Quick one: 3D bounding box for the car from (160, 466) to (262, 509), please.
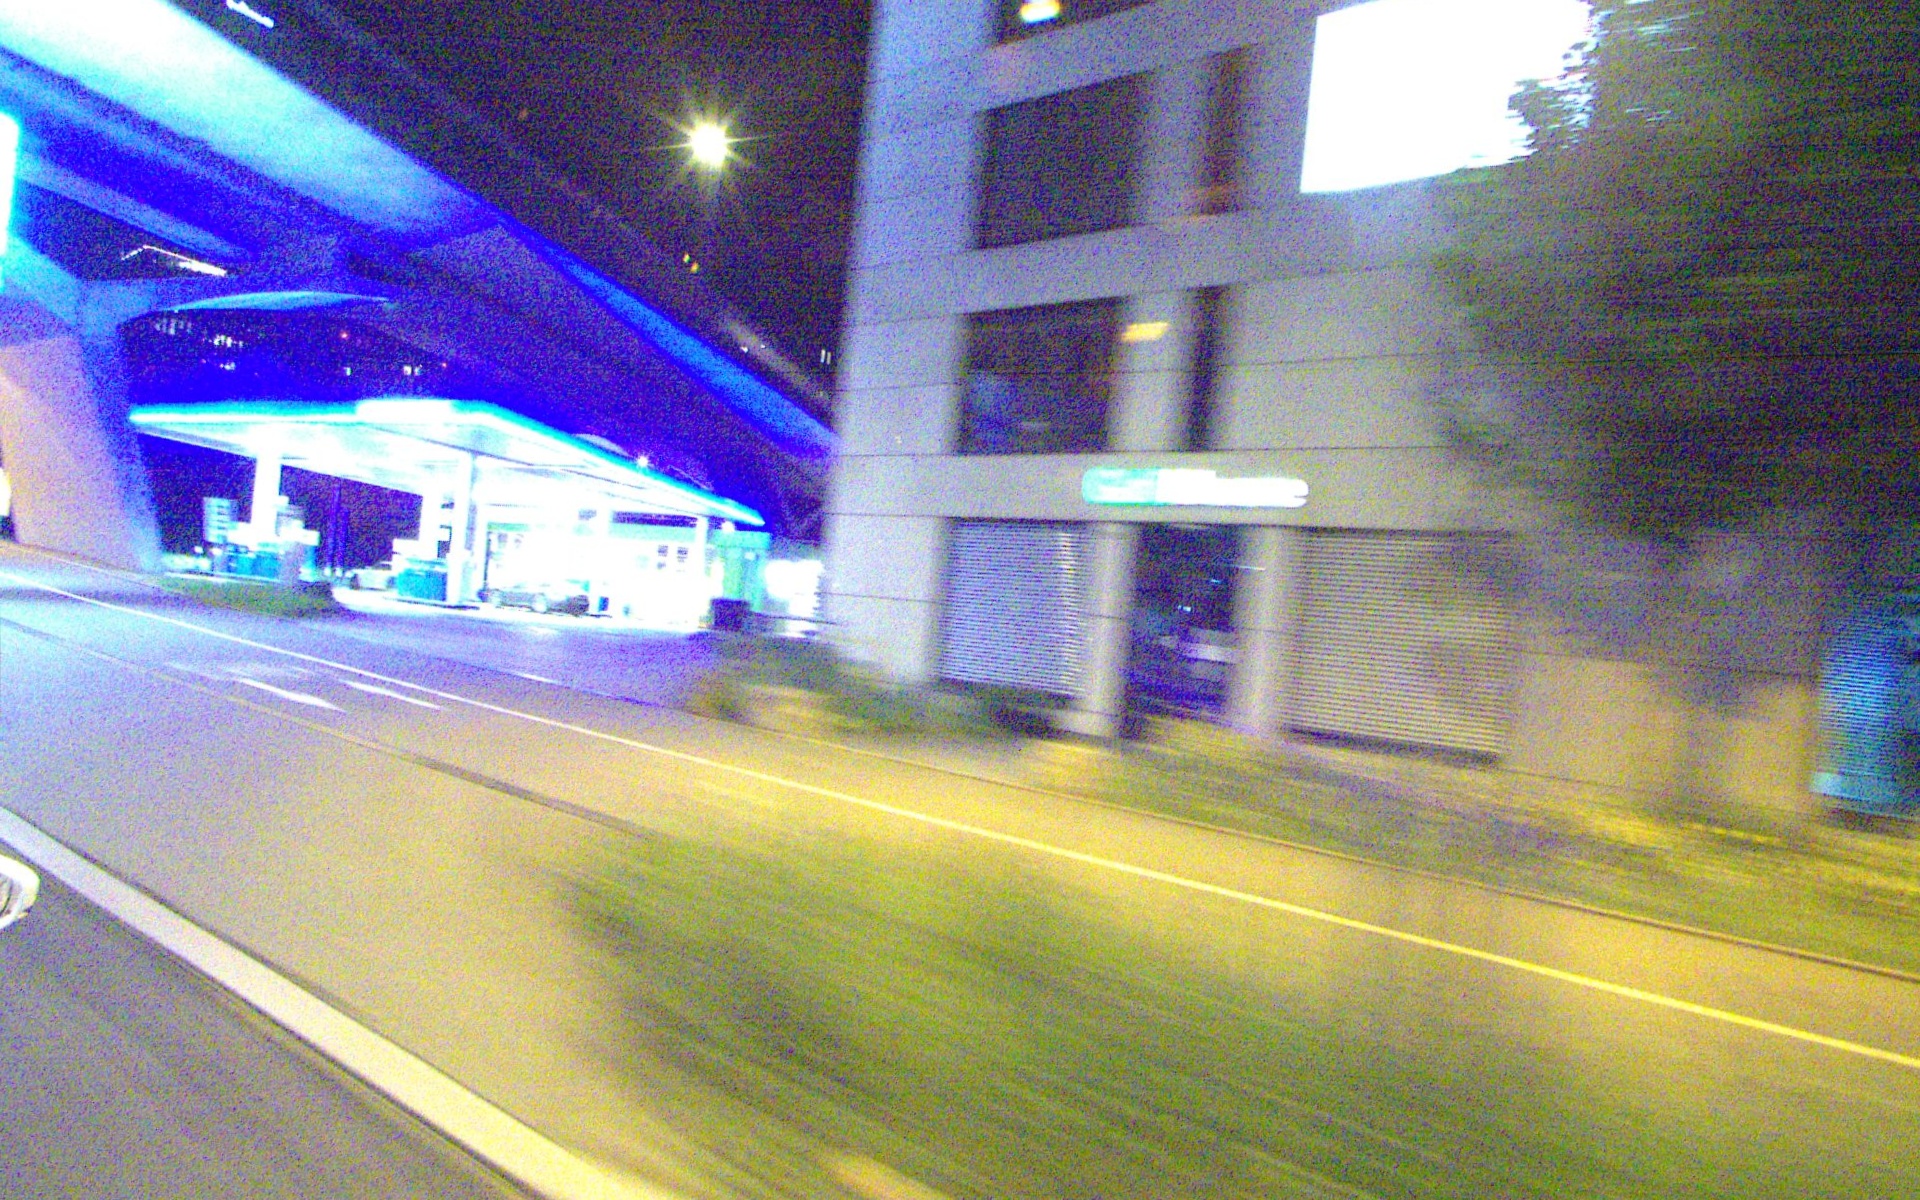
[{"bbox_3d":[-46.199,-6.921,62.150,1.966,1.934,4.583,6,0,29],"label":"car"}]

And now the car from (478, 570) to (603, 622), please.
[{"bbox_3d":[-15.609,-0.158,37.420,4.260,1.379,1.932,6,-2,28],"label":"car"}]

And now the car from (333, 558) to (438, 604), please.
[{"bbox_3d":[-23.566,-0.787,41.236,3.997,1.374,1.658,6,-2,26],"label":"car"}]
